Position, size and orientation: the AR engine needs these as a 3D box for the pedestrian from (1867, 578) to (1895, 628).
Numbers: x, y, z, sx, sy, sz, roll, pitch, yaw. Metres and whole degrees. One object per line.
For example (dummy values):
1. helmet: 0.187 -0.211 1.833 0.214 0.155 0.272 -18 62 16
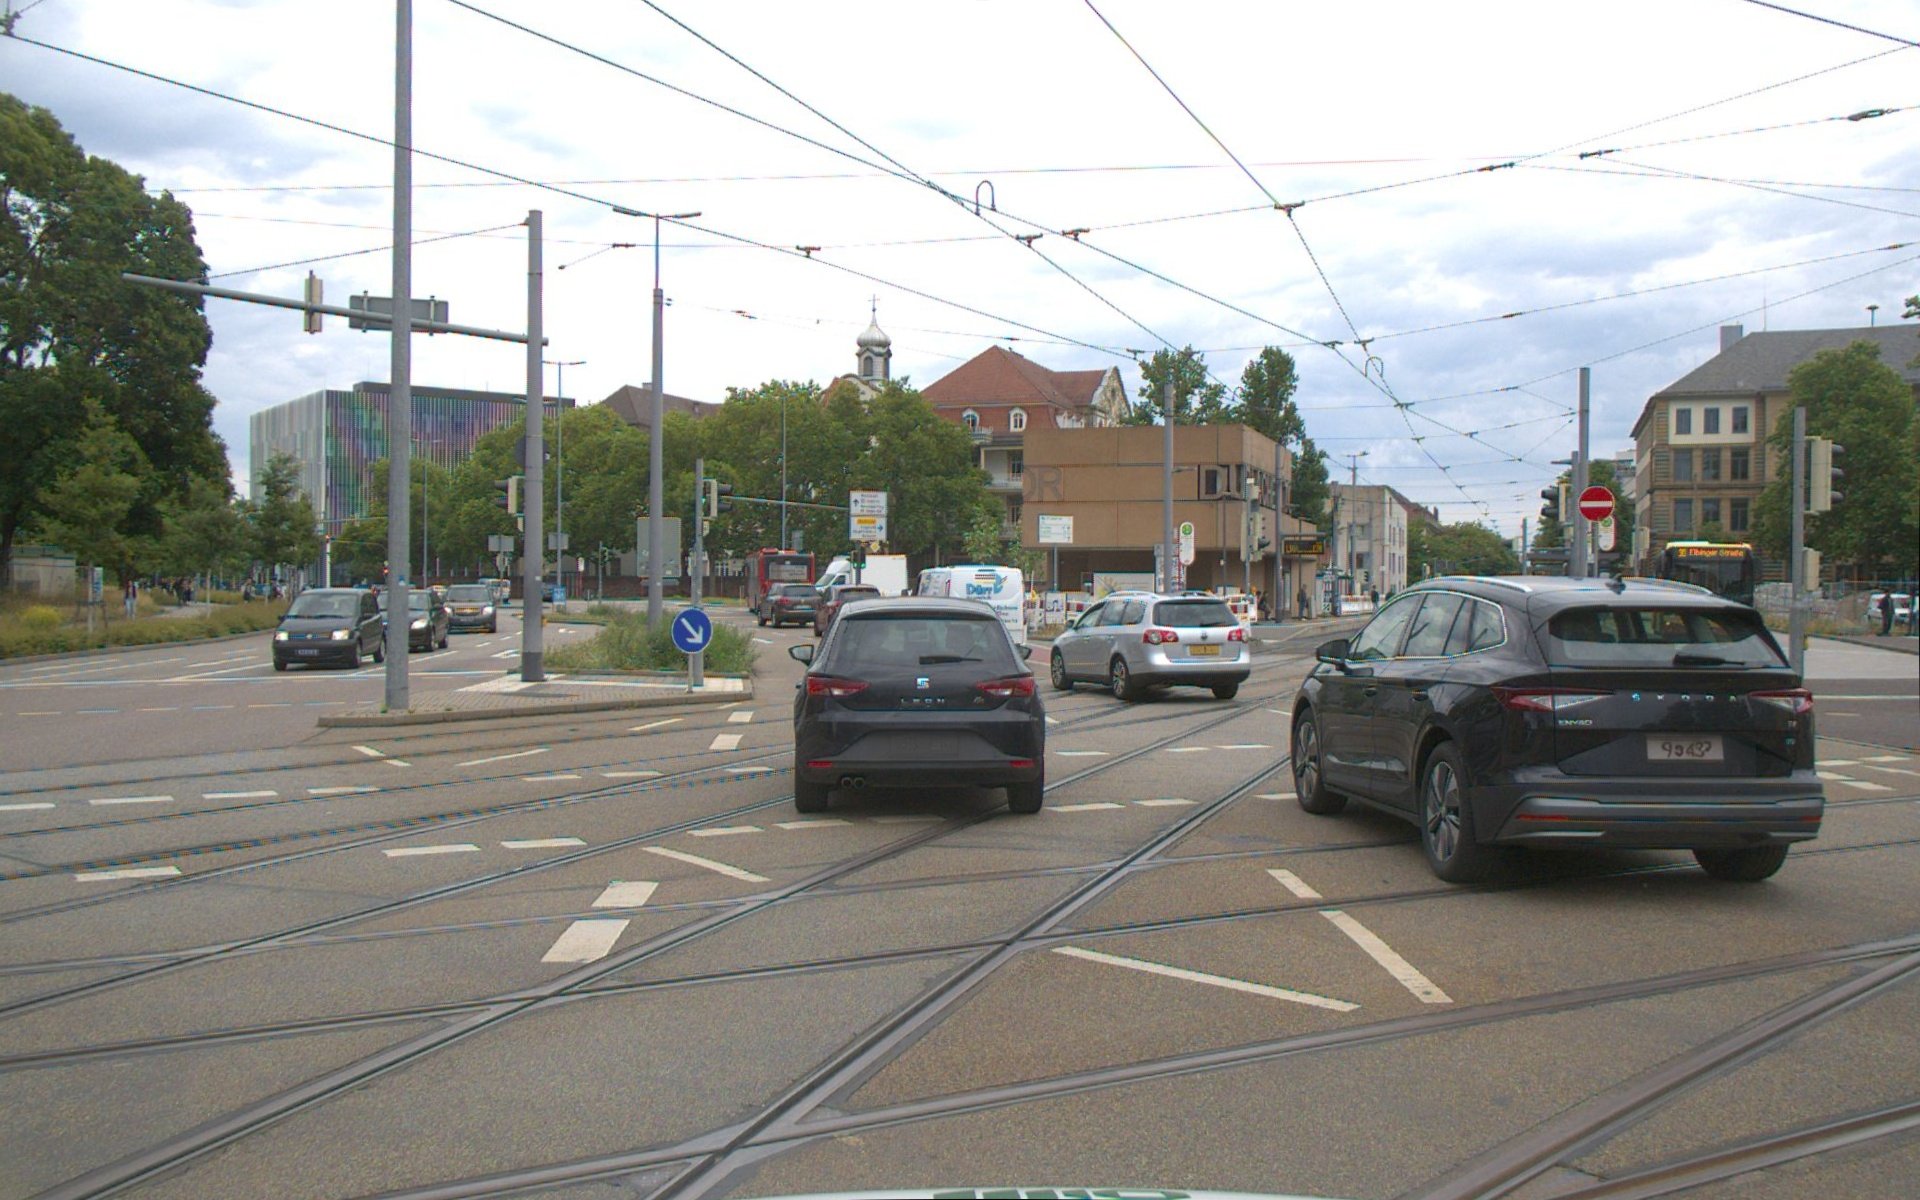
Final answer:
1. pedestrian: 33.865 0.099 60.807 0.807 1.840 1.020 0 0 25

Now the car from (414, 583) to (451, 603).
1. car: -46.952 -0.623 147.260 1.978 1.780 3.948 0 0 -37

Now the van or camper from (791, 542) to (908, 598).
1. van or camper: -6.985 -1.875 105.069 7.072 3.390 2.840 0 -1 -36

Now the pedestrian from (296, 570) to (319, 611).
1. pedestrian: -30.241 -0.451 76.681 0.878 1.874 0.665 0 0 -14

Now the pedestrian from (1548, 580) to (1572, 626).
1. pedestrian: 23.805 0.110 65.653 0.807 1.840 1.020 0 0 25

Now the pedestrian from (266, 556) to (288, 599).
1. pedestrian: -30.184 -0.981 73.114 0.744 1.874 0.764 -1 1 -14

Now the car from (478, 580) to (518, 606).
1. car: -36.425 -0.574 130.447 1.975 2.049 3.954 0 0 -33

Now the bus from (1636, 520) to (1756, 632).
1. bus: 24.469 -0.777 55.524 2.954 3.325 13.043 1 1 21

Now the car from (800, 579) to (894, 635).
1. car: -3.500 0.186 50.384 1.830 1.628 4.181 0 1 -19

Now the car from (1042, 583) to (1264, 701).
1. car: 2.706 0.528 24.296 1.692 1.508 4.611 -1 1 -15

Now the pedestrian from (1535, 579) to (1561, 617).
1. pedestrian: 25.257 -0.094 71.049 0.997 1.603 1.007 0 1 24

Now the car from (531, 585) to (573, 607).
1. car: -29.988 -0.283 121.488 1.974 1.566 3.958 0 0 -31

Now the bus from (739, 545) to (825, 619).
1. bus: -8.915 -0.883 81.553 3.004 3.355 12.342 1 0 -12

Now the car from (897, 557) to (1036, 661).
1. car: 0.046 0.144 35.511 1.959 2.054 5.016 0 1 -12

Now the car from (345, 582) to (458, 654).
1. car: -13.362 0.382 39.835 1.836 1.534 4.469 -2 1 -10

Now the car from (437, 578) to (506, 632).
1. car: -16.673 0.129 56.619 1.837 1.755 4.699 -1 1 -12

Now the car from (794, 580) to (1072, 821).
1. car: -0.364 0.621 12.460 1.712 1.489 3.995 1 1 -6

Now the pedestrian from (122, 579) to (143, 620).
1. pedestrian: -31.899 -0.016 63.768 0.552 1.568 0.752 0 0 -15

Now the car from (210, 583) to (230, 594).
1. car: -90.966 -1.389 203.378 1.697 1.287 3.299 0 0 -34

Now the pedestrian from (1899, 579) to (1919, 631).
1. pedestrian: 34.779 0.181 60.340 0.807 1.886 1.020 0 0 25

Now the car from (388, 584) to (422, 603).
1. car: -48.971 -0.558 145.867 1.975 1.668 3.955 0 0 -33

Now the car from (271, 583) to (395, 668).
1. car: -12.264 0.448 32.540 1.589 1.542 3.657 -1 1 -10

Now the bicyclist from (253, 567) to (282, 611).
1. bicyclist: -29.787 -0.460 71.143 0.773 1.876 0.834 0 0 15

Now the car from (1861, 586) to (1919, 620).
1. car: 48.123 0.137 85.134 1.868 1.691 4.004 0 0 9

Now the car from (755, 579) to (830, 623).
1. car: -6.441 0.010 63.240 1.963 1.593 4.183 0 1 -19

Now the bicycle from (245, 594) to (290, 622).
1. bicycle: -29.794 0.348 71.148 0.772 1.179 1.908 0 1 16

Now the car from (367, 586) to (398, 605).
1. car: -53.434 -0.451 152.987 1.975 1.711 3.966 0 0 -32

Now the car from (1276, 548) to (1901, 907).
1. car: 3.425 0.575 10.096 1.866 1.687 4.511 0 1 -4
